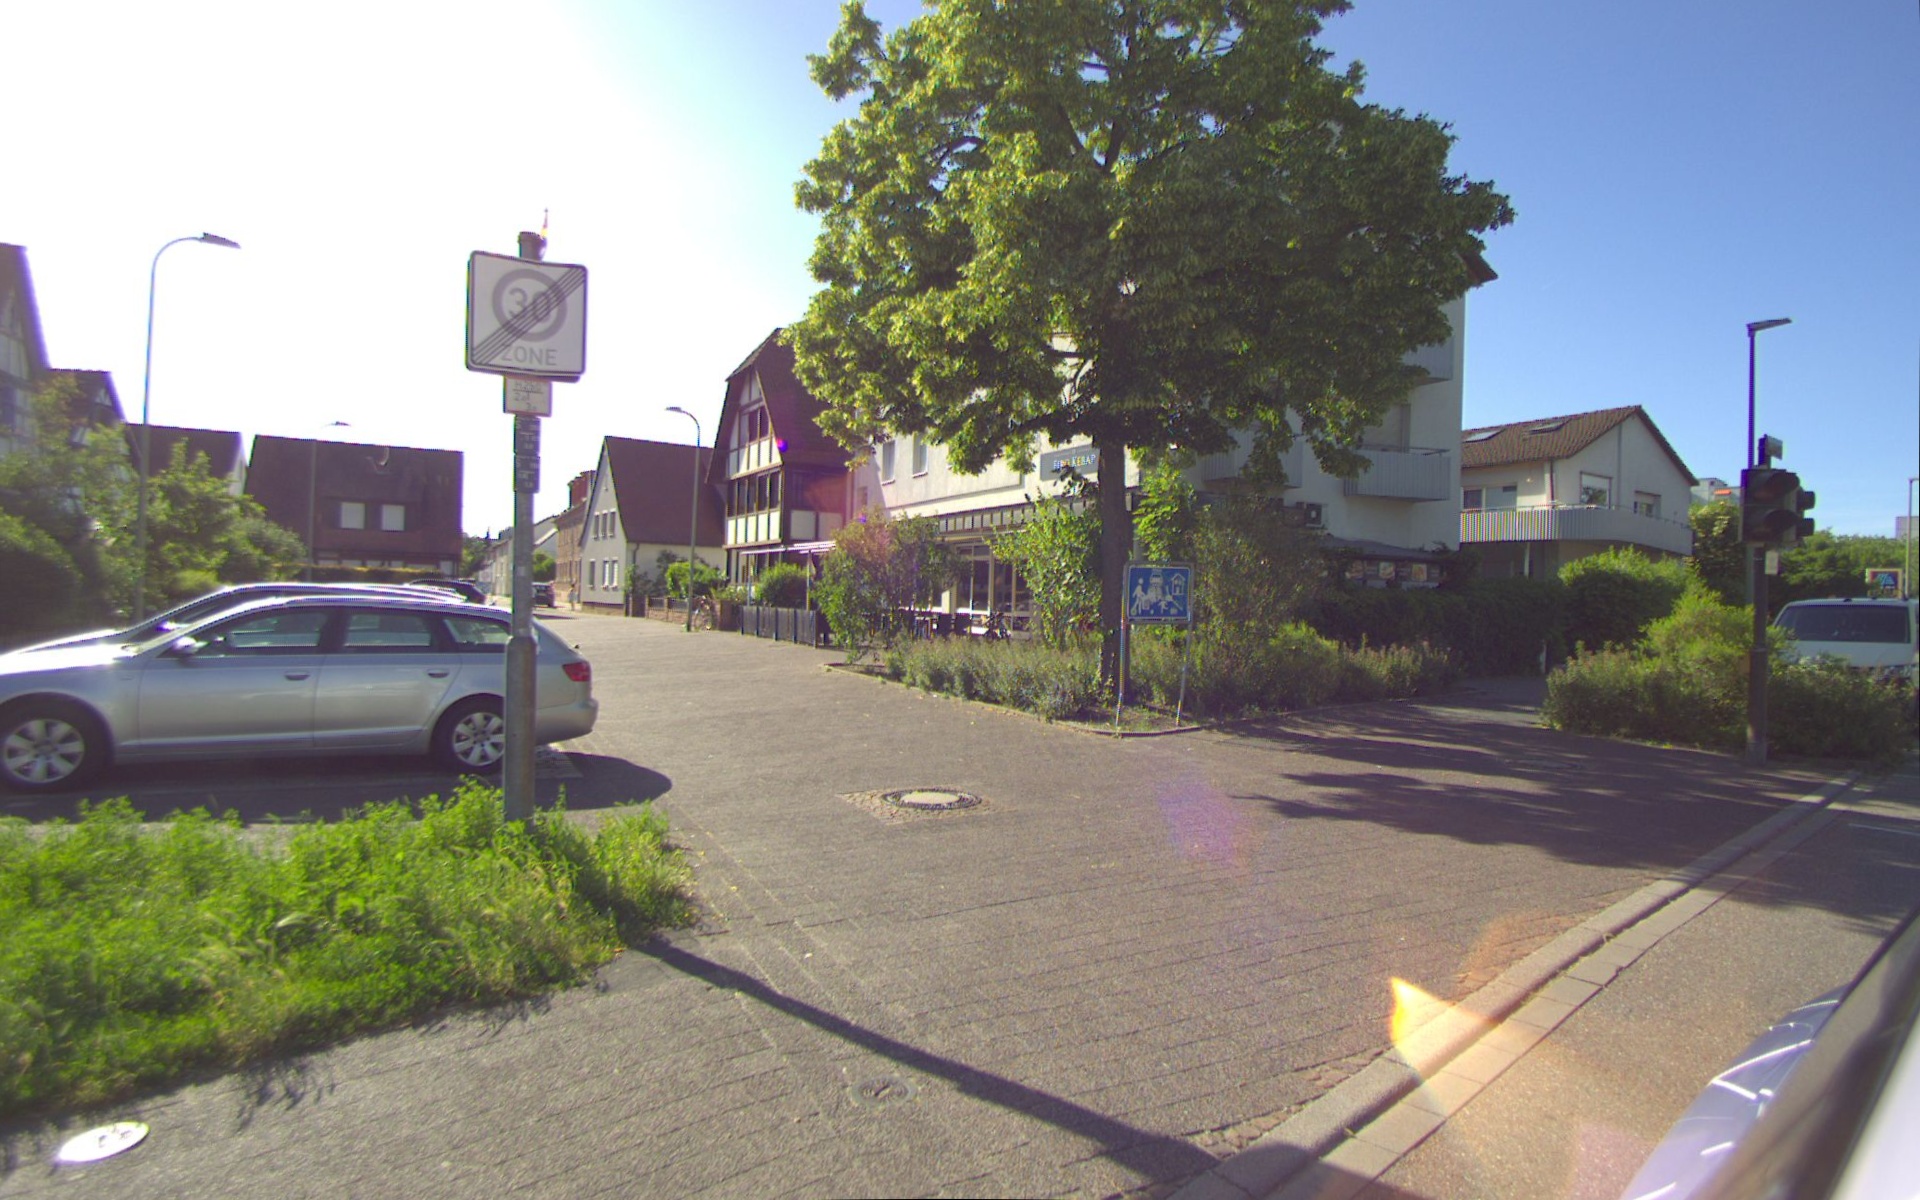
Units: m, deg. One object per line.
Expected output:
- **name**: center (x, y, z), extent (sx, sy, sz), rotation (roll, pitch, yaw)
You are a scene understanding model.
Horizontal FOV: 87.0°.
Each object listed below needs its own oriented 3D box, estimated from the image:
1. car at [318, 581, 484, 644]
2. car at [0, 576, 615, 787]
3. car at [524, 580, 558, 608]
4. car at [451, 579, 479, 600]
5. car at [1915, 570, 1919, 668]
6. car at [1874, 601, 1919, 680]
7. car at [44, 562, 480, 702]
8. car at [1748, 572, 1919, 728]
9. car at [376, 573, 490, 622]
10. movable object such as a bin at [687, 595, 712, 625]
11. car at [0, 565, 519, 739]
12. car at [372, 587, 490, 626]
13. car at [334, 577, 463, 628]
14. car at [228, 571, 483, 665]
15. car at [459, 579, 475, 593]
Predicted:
- **car**: center (-14.225, 0.326, 25.884), extent (3.545, 1.438, 1.462), rotation (3, 0, -29)
- **car**: center (-5.623, 0.625, 8.665), extent (4.706, 1.440, 2.002), rotation (3, -1, -31)
- **car**: center (-28.544, -0.414, 68.906), extent (1.958, 1.737, 4.811), rotation (3, -1, -24)
- **car**: center (-46.101, -0.968, 94.279), extent (2.168, 1.866, 4.808), rotation (1, 0, -28)
- **car**: center (28.573, 0.556, 28.720), extent (5.137, 2.678, 1.958), rotation (1, -1, -45)
- **car**: center (23.438, 0.944, 24.195), extent (4.498, 1.760, 1.959), rotation (1, -1, -43)
- **car**: center (-8.669, 0.448, 13.083), extent (4.311, 1.571, 1.716), rotation (3, -1, -23)
- **car**: center (14.182, 0.724, 15.743), extent (4.493, 2.105, 1.999), rotation (2, -1, -38)
- **car**: center (-19.650, -0.079, 37.759), extent (3.631, 1.645, 1.416), rotation (3, 0, -31)
- **movable object such as a bin**: center (-9.064, 0.346, 35.209), extent (0.644, 1.005, 0.709), rotation (-1, 1, -32)
- **car**: center (-7.007, 0.547, 10.553), extent (4.311, 1.537, 1.716), rotation (3, -1, -23)
- **car**: center (-18.552, 0.247, 35.532), extent (3.546, 1.210, 1.346), rotation (3, -1, -31)
- **car**: center (-18.220, 0.103, 32.949), extent (3.545, 1.471, 1.462), rotation (3, -1, -29)
- **car**: center (-10.711, 0.331, 18.246), extent (3.730, 1.493, 1.604), rotation (3, -1, -25)
- **car**: center (-74.023, -2.170, 151.860), extent (1.959, 2.039, 4.006), rotation (1, 1, -28)
